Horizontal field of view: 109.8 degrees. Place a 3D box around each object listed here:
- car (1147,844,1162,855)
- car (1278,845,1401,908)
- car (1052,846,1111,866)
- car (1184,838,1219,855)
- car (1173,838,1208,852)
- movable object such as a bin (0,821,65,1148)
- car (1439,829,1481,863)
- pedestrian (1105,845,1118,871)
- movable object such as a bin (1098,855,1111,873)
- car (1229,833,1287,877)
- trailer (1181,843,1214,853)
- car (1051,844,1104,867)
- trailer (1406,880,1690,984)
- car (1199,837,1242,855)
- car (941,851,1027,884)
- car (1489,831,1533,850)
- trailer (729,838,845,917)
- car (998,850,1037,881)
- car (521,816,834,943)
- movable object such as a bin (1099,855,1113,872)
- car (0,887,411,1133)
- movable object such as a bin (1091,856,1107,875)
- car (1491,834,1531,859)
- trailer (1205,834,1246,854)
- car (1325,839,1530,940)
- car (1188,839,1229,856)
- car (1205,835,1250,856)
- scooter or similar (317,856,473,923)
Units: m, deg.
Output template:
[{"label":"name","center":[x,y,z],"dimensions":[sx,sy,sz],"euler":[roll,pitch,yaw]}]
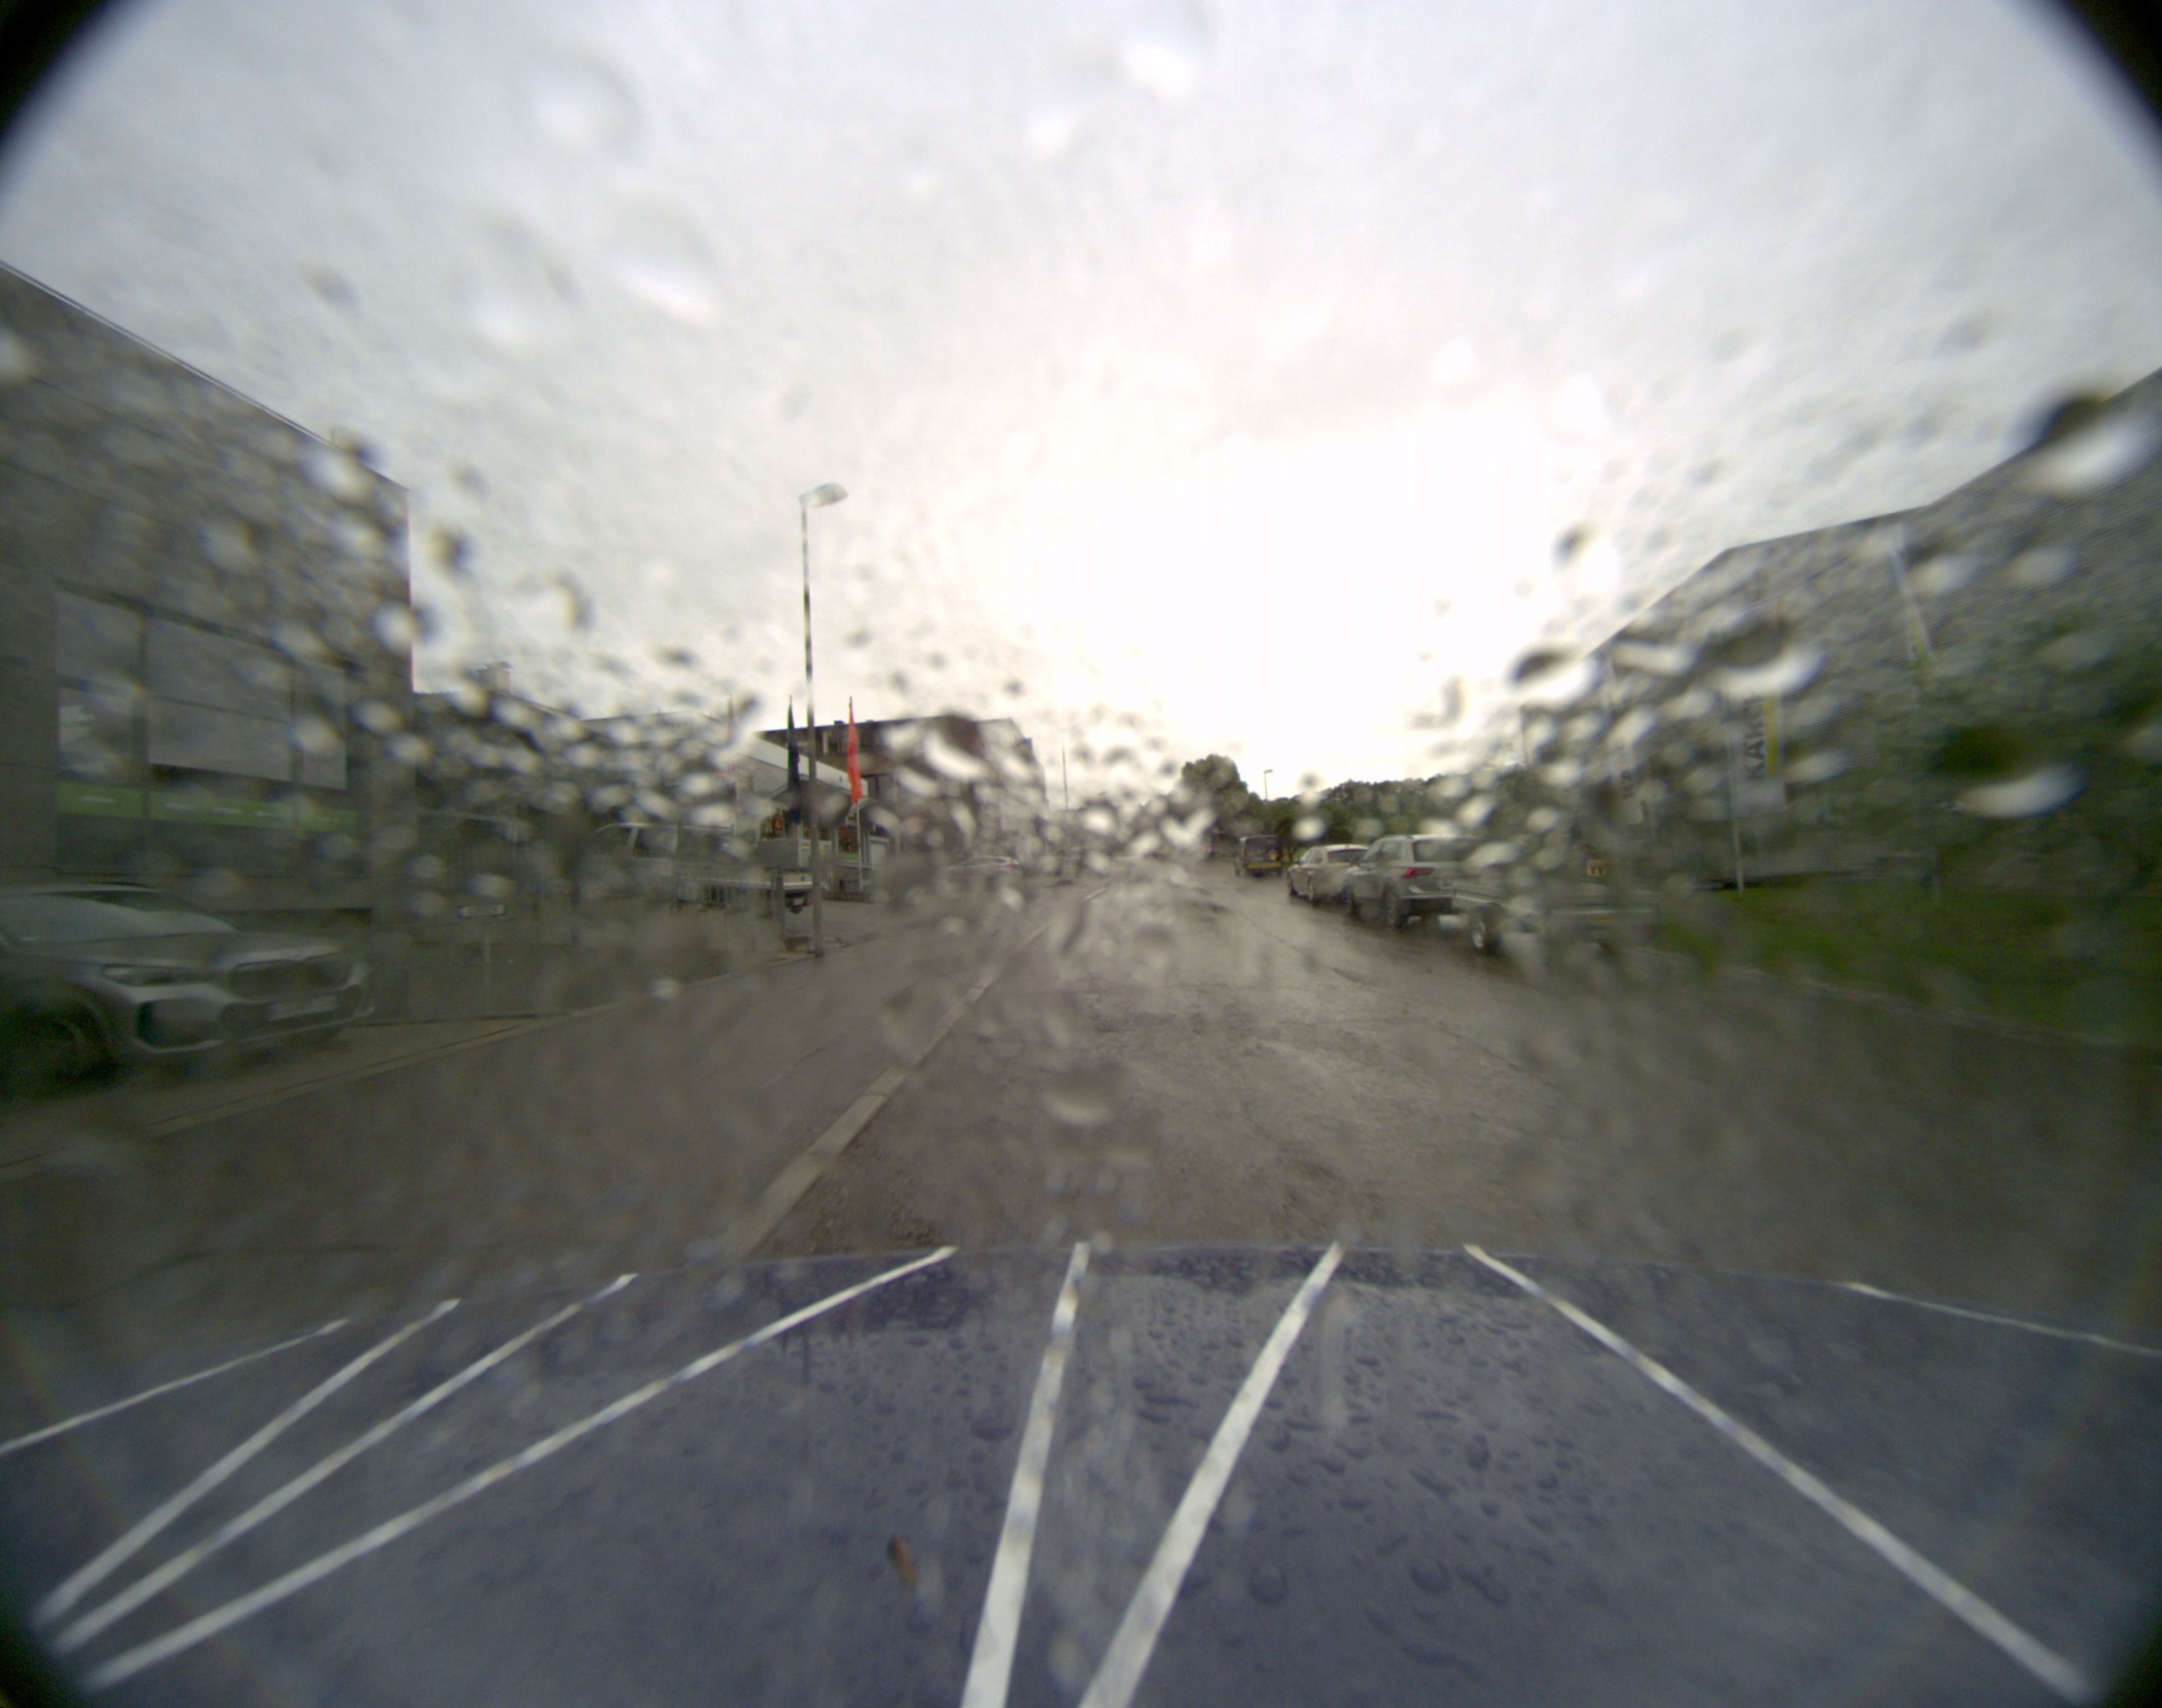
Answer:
[{"label":"car","center":[10.648,-0.662,110.113],"dimensions":[1.751,1.500,3.935],"euler":[-4,1,3]},{"label":"car","center":[7.004,0.532,21.224],"dimensions":[1.960,1.453,5.248],"euler":[-3,1,4]},{"label":"car","center":[0.074,0.170,62.167],"dimensions":[4.607,1.530,2.079],"euler":[-1,1,4]},{"label":"car","center":[15.198,-0.939,96.256],"dimensions":[4.083,1.712,2.025],"euler":[-5,1,3]},{"label":"car","center":[15.027,-1.263,104.101],"dimensions":[4.379,1.712,2.044],"euler":[-3,1,-2]},{"label":"movable object such as a bin","center":[-9.122,0.928,4.582],"dimensions":[4.263,2.098,1.477],"euler":[-2,1,5]},{"label":"car","center":[24.484,-0.459,48.973],"dimensions":[2.130,1.910,5.621],"euler":[-4,-2,28]},{"label":"pedestrian","center":[2.178,0.262,53.947],"dimensions":[0.738,1.757,0.808],"euler":[-3,1,6]},{"label":"movable object such as a bin","center":[1.467,0.635,47.444],"dimensions":[0.745,1.060,0.637],"euler":[-3,1,6]},{"label":"car","center":[8.251,0.024,35.809],"dimensions":[1.919,1.821,4.849],"euler":[-3,1,6]},{"label":"trailer","center":[15.089,-0.738,98.918],"dimensions":[3.951,0.955,2.000],"euler":[-4,0,0]},{"label":"car","center":[-0.301,0.104,65.278],"dimensions":[4.350,1.763,2.089],"euler":[-3,1,3]},{"label":"trailer","center":[6.089,0.950,10.512],"dimensions":[1.684,0.883,3.897],"euler":[-3,1,3]},{"label":"car","center":[15.231,-0.885,83.092],"dimensions":[4.207,1.712,1.754],"euler":[-3,1,-1]},{"label":"car","center":[-5.033,0.688,39.919],"dimensions":[4.129,1.565,2.004],"euler":[-1,1,4]},{"label":"car","center":[52.887,-1.641,93.514],"dimensions":[4.492,2.207,1.933],"euler":[-1,1,24]},{"label":"trailer","center":[-10.008,0.761,26.259],"dimensions":[1.891,2.402,4.310],"euler":[-3,0,6]},{"label":"car","center":[-4.079,0.706,49.292],"dimensions":[1.752,1.740,4.474],"euler":[-3,1,4]},{"label":"car","center":[-8.213,0.446,15.762],"dimensions":[5.308,2.002,2.222],"euler":[5,2,6]},{"label":"movable object such as a bin","center":[1.576,0.614,48.172],"dimensions":[0.773,1.024,0.808],"euler":[-3,1,6]},{"label":"car","center":[-8.979,1.214,6.381],"dimensions":[5.102,1.604,1.925],"euler":[-2,0,4]},{"label":"movable object such as a bin","center":[1.080,0.673,45.500],"dimensions":[0.730,1.107,0.705],"euler":[-3,1,21]},{"label":"car","center":[26.395,-0.477,46.778],"dimensions":[1.995,1.388,4.698],"euler":[-2,0,28]},{"label":"trailer","center":[16.326,-1.158,85.913],"dimensions":[4.222,1.973,1.774],"euler":[-3,1,2]},{"label":"car","center":[6.454,0.538,14.867],"dimensions":[1.962,1.568,4.840],"euler":[-2,1,3]},{"label":"car","center":[15.677,-0.811,93.340],"dimensions":[4.629,1.581,1.806],"euler":[-5,1,2]},{"label":"car","center":[15.000,-0.892,77.900],"dimensions":[4.308,1.895,1.862],"euler":[-3,1,7]},{"label":"scooter or similar","center":[-13.397,0.662,14.950],"dimensions":[1.066,1.217,2.066],"euler":[1,-1,7]}]
